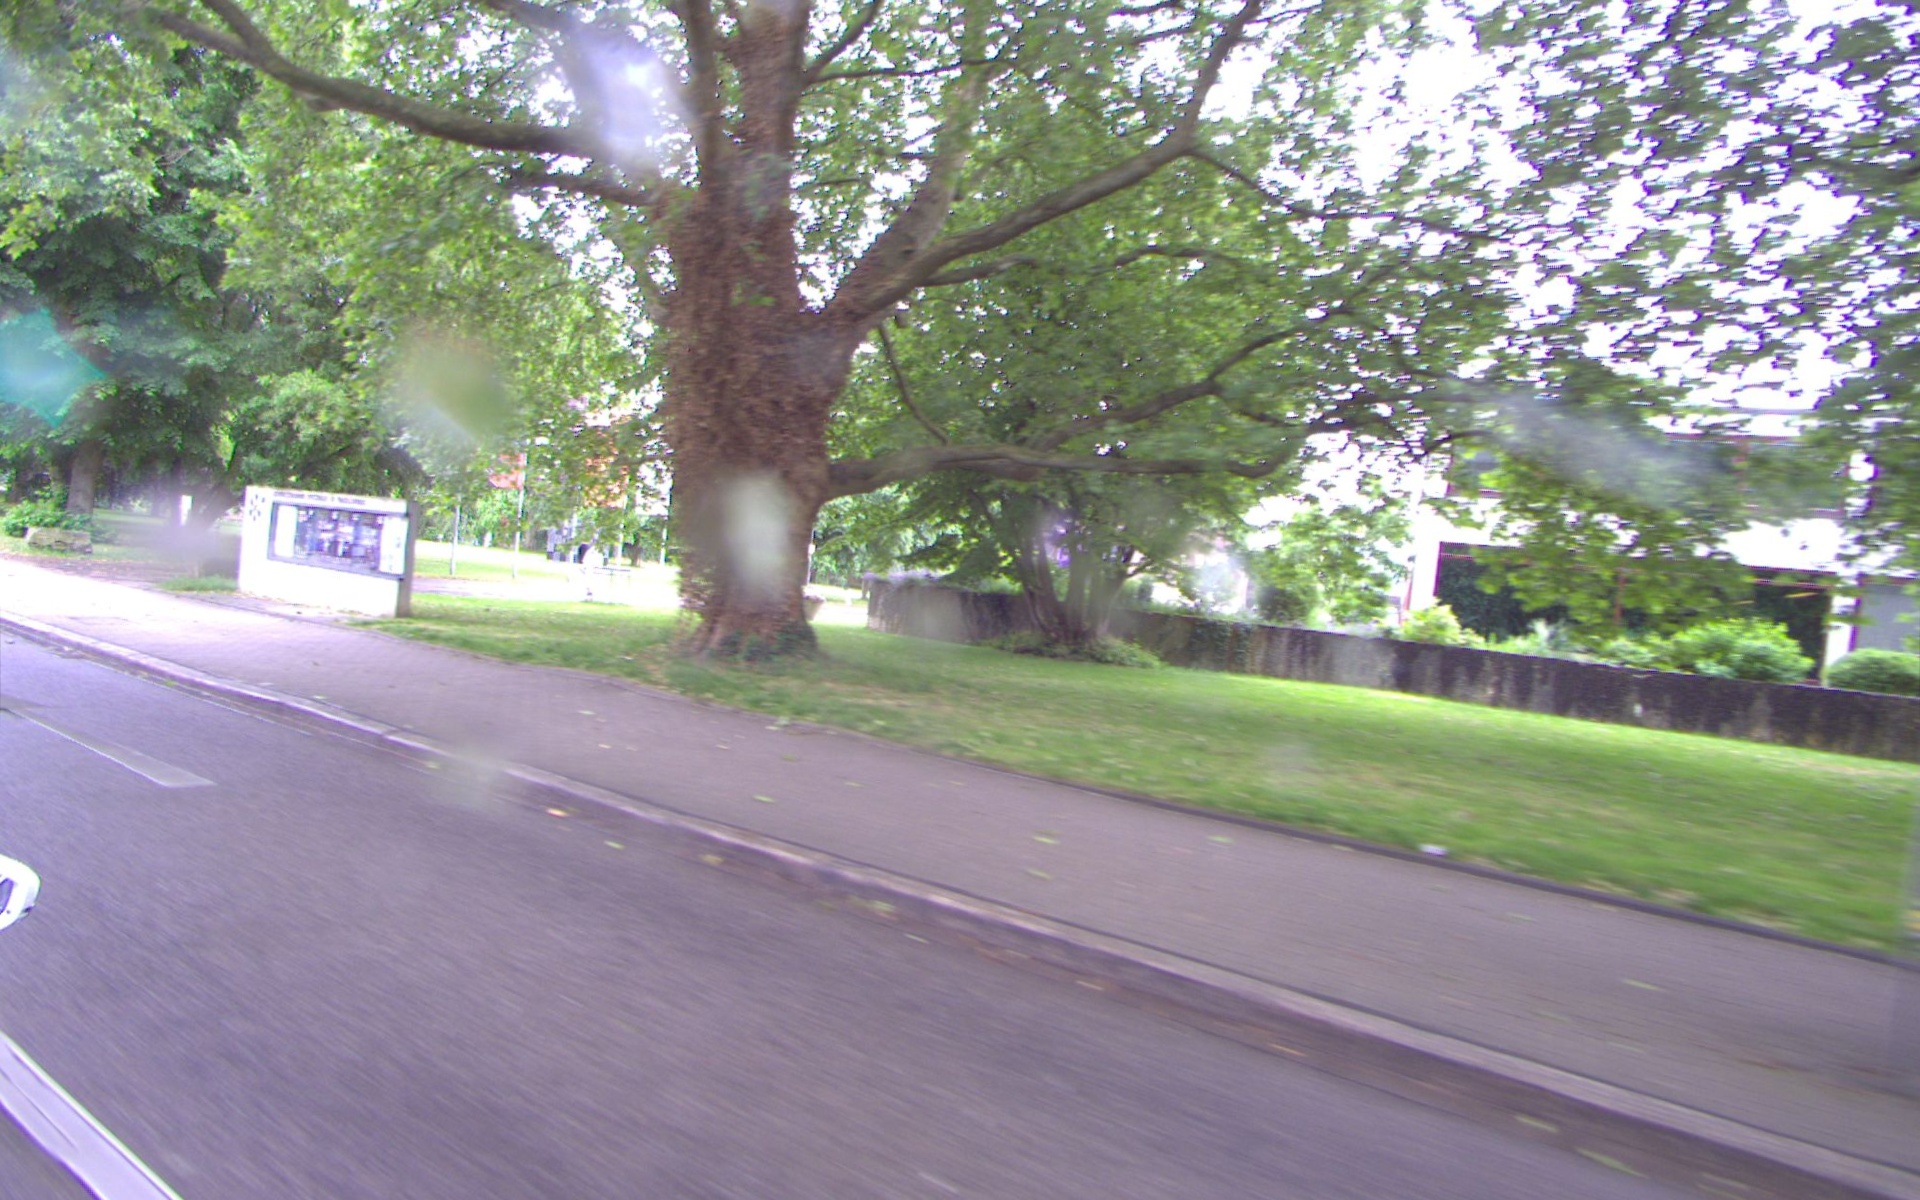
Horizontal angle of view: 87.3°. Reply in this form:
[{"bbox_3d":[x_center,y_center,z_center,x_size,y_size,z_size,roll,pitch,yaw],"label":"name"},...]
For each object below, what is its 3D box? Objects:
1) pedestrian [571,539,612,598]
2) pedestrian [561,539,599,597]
[{"bbox_3d":[-11.750,-0.996,32.094,0.776,1.732,0.666,6,-1,23],"label":"pedestrian"},{"bbox_3d":[-12.393,-1.048,32.848,0.711,1.776,0.666,6,-1,23],"label":"pedestrian"}]
